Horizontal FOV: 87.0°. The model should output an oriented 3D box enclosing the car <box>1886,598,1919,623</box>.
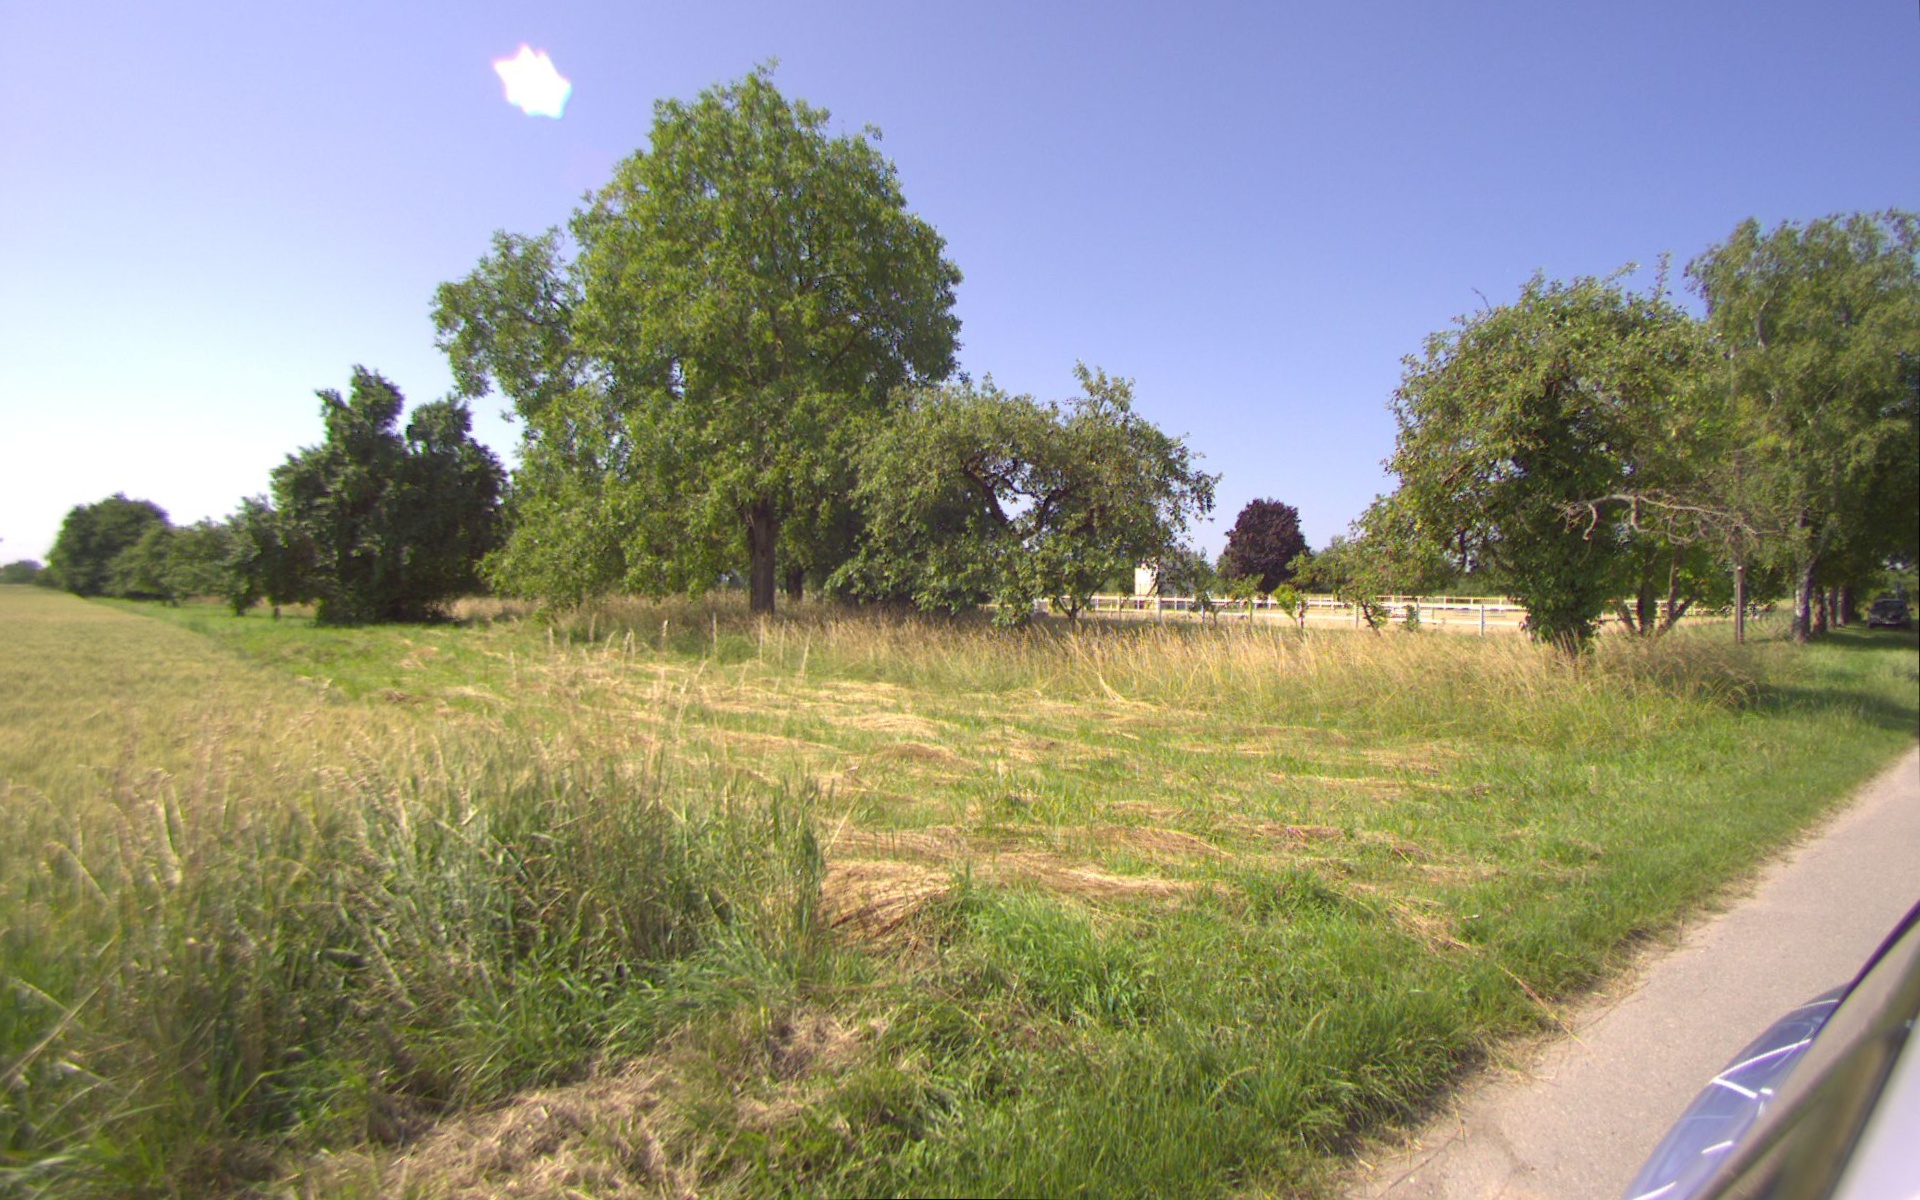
[{"bbox_3d":[54.148,0.587,57.920,1.717,1.337,3.685,1,0,43],"label":"car"}]
